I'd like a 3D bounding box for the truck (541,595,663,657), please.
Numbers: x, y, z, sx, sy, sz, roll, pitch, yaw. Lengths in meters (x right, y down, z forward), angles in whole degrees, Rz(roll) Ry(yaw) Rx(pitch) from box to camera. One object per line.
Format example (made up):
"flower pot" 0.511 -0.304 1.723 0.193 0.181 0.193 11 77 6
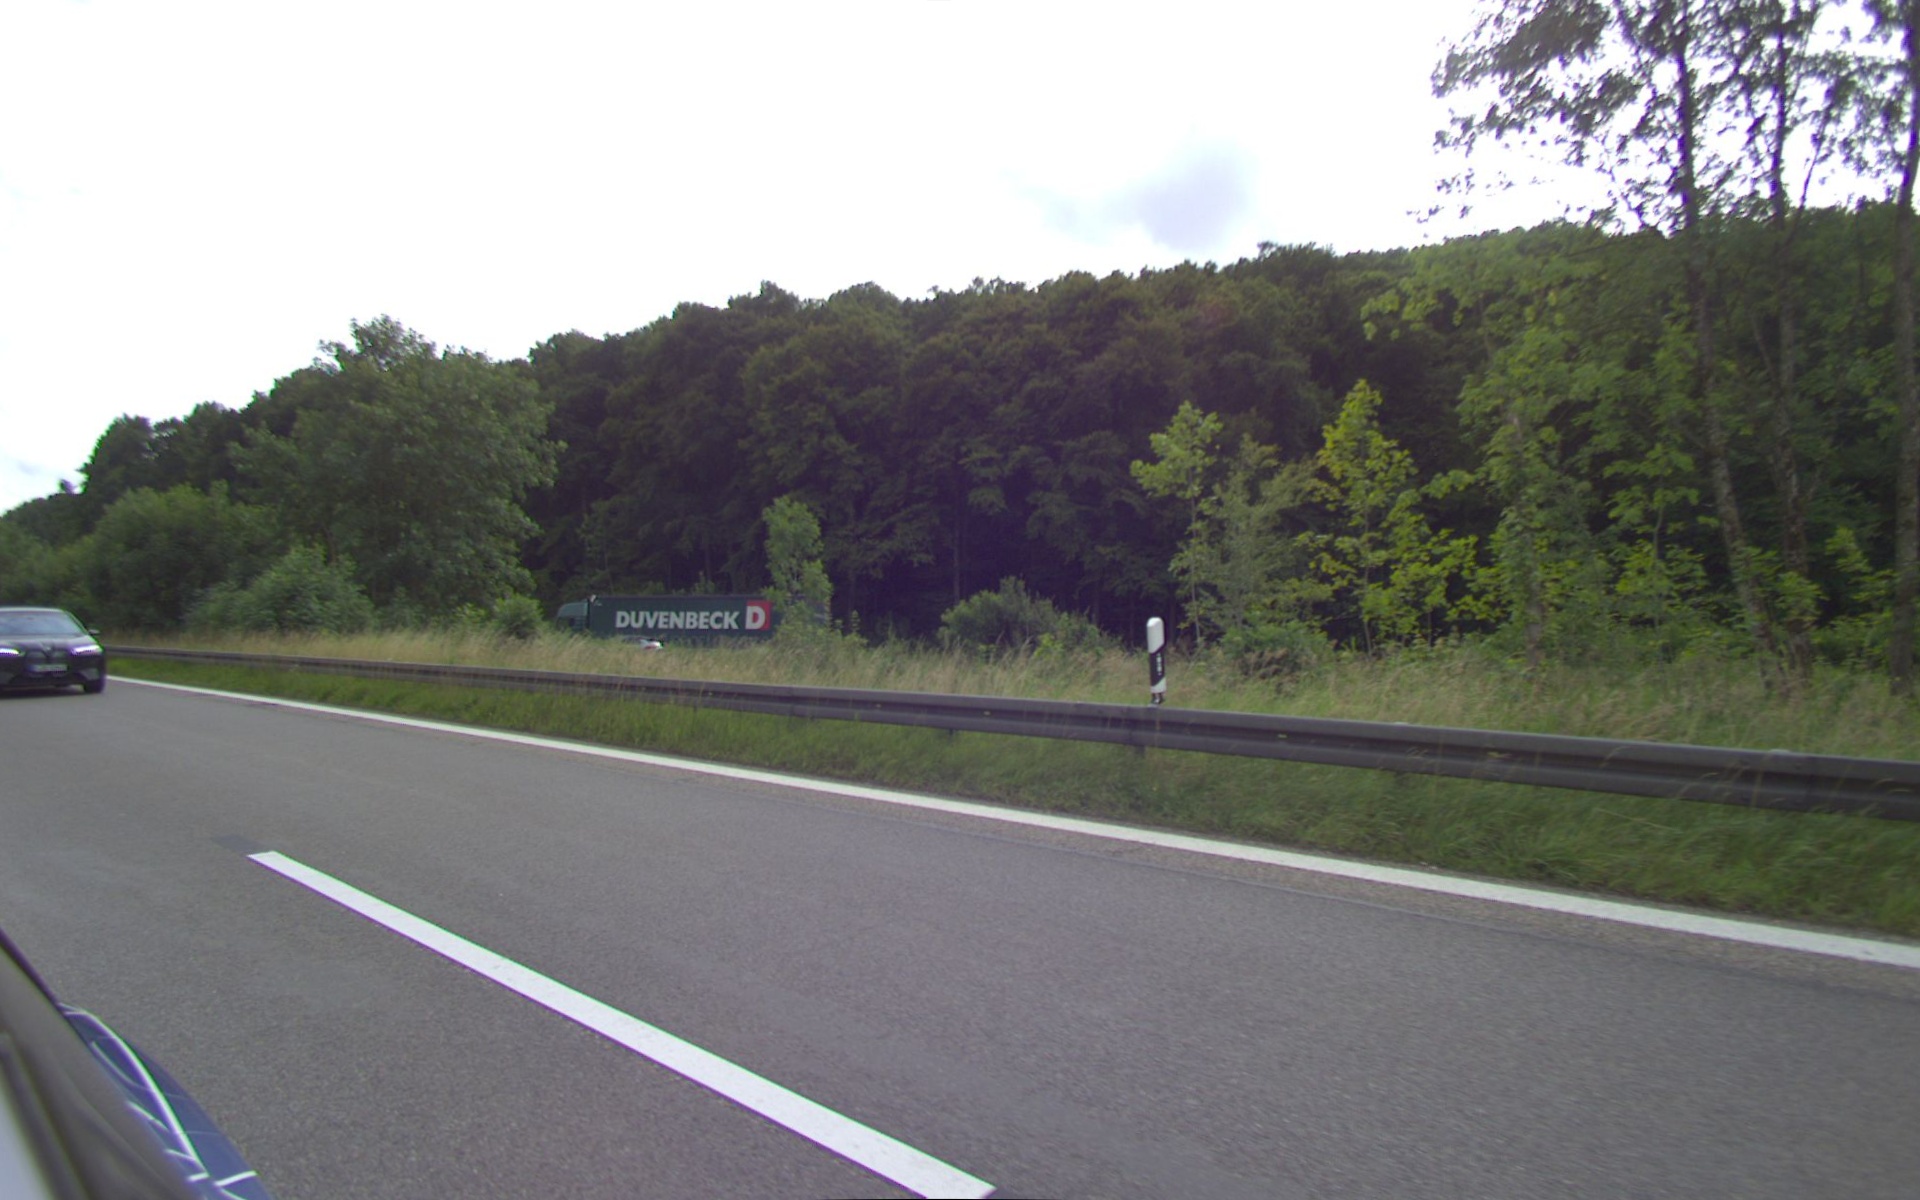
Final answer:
"truck" -19.589 1.398 55.430 5.697 3.244 3.136 -1 -1 24

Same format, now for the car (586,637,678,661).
"car" -15.677 2.324 48.318 3.976 1.031 1.884 0 0 25

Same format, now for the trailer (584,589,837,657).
"trailer" -13.113 1.254 52.479 13.731 3.244 3.136 -1 -1 24

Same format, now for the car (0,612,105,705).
"car" -18.811 1.104 20.192 4.411 1.678 1.973 -1 -1 40
